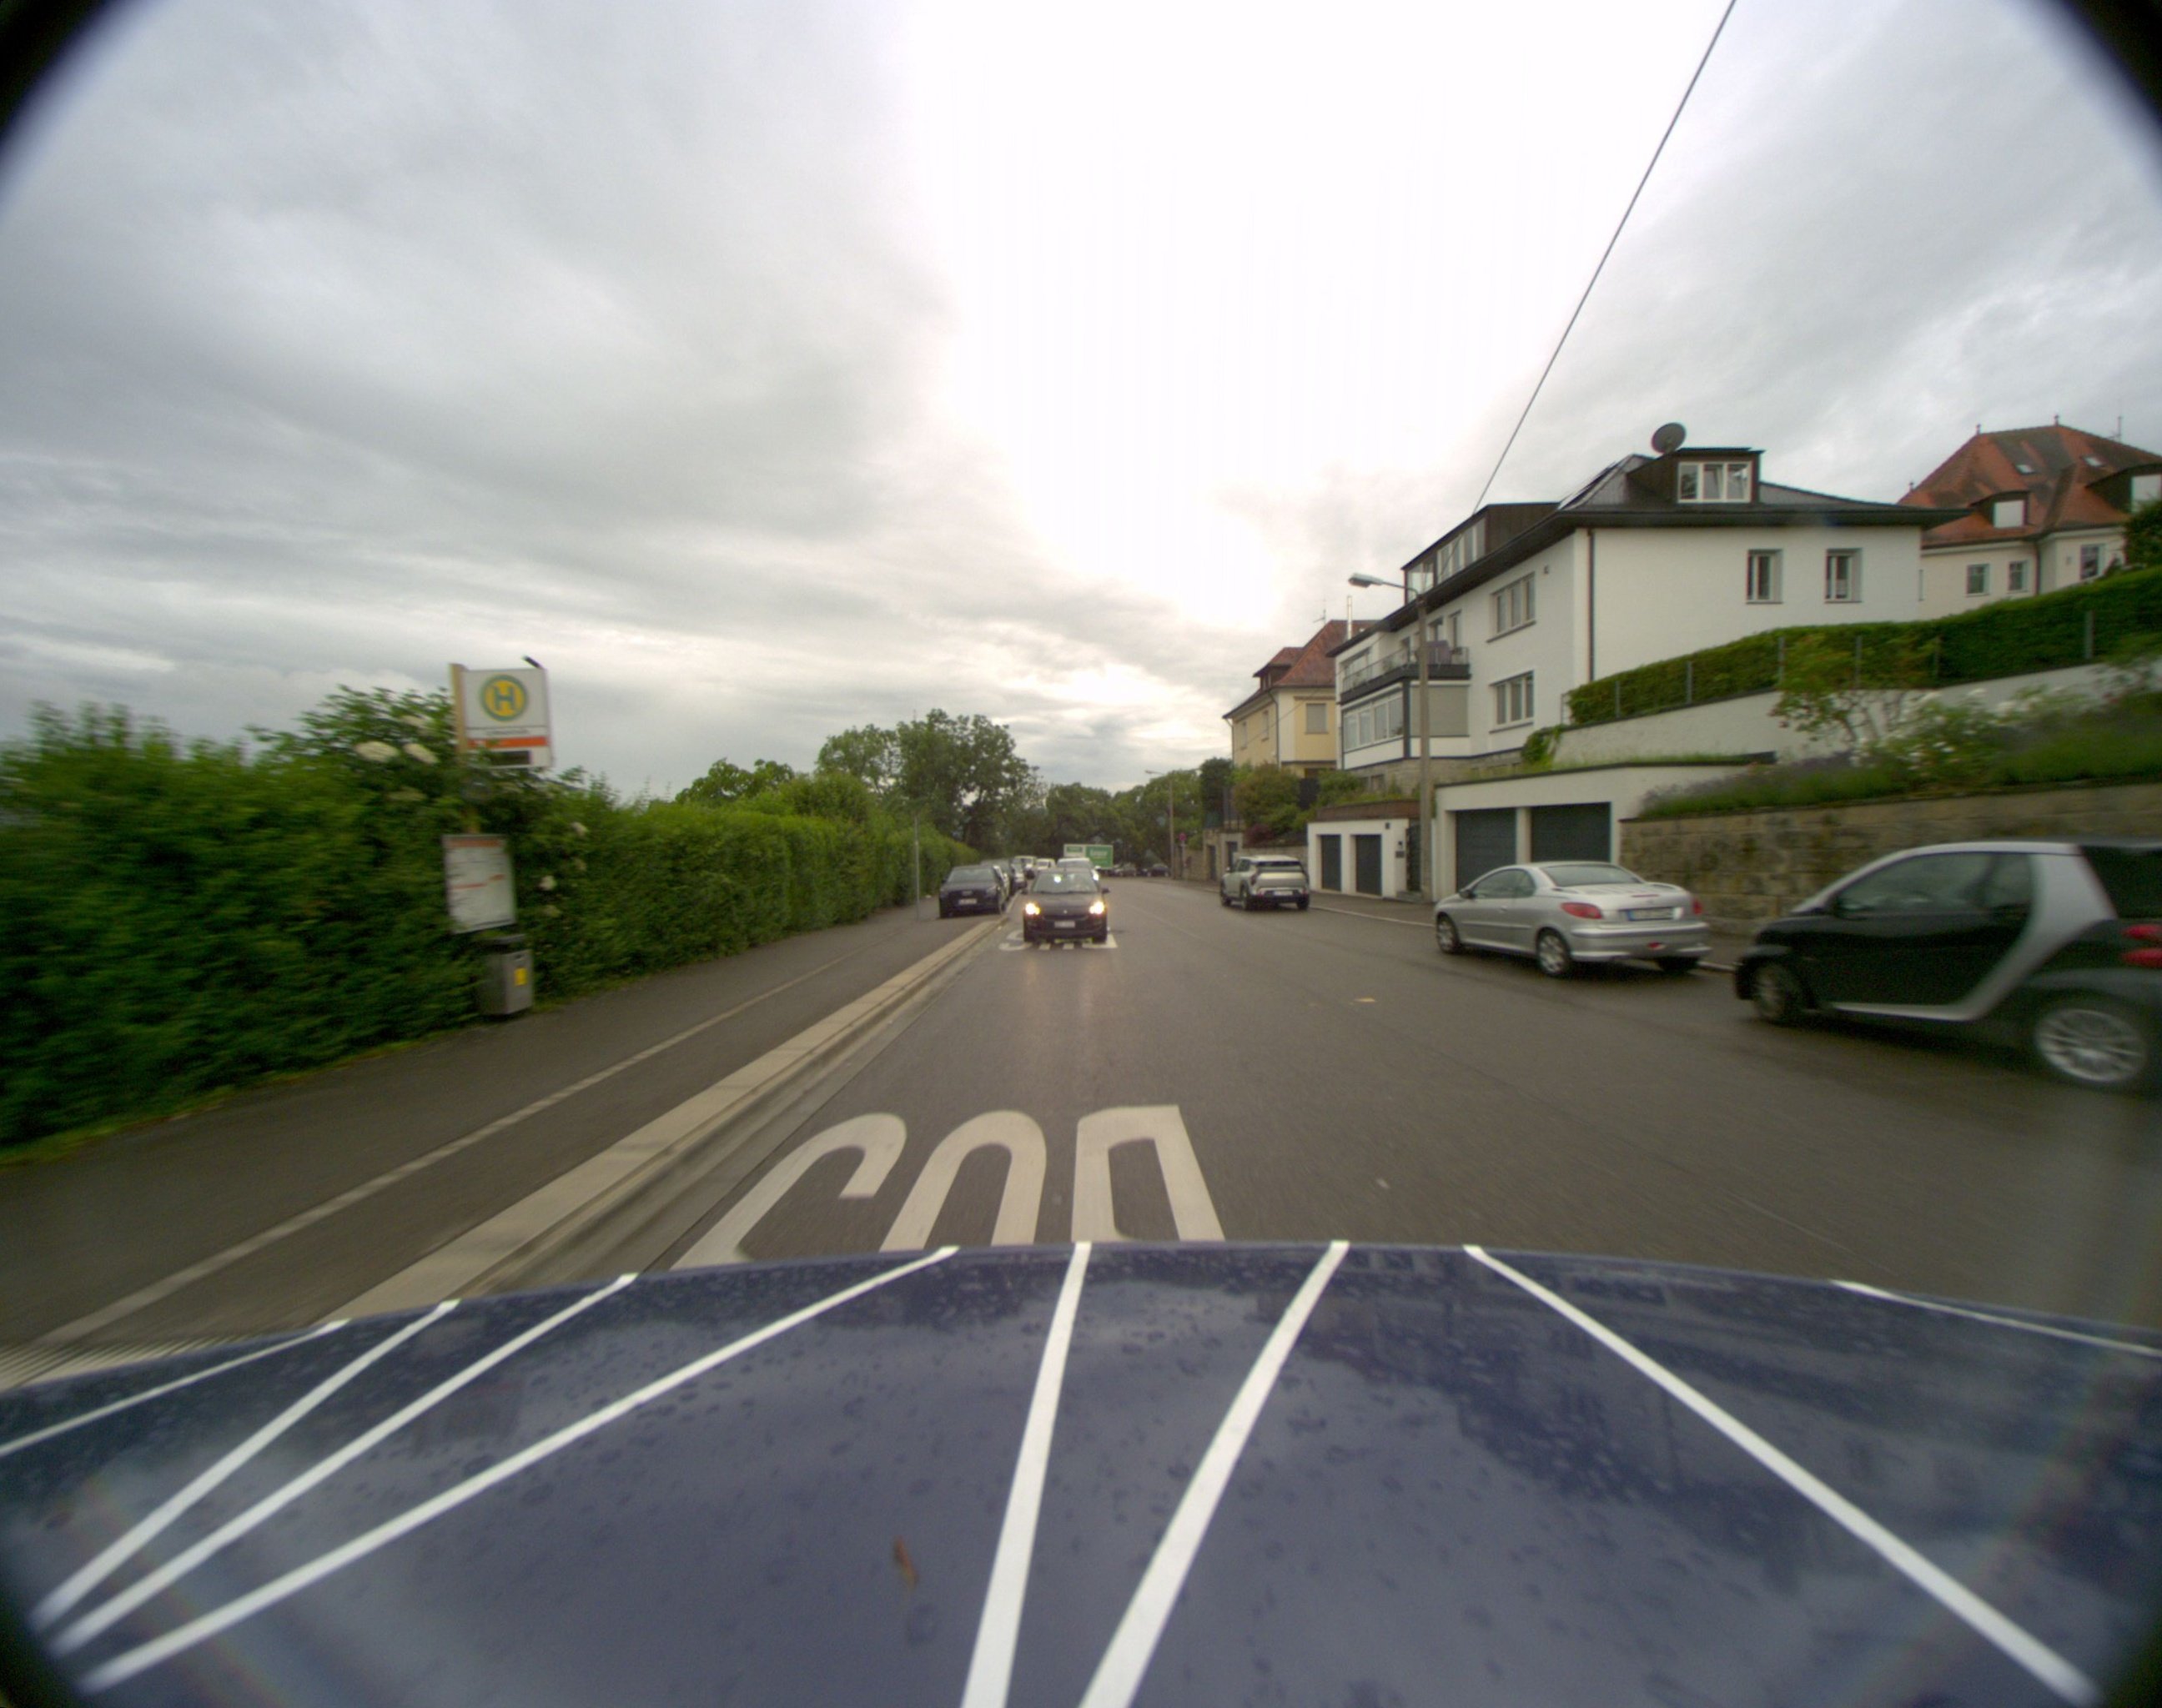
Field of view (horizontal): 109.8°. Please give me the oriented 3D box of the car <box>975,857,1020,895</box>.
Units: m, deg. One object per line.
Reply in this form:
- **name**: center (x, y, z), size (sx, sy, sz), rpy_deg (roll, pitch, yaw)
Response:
- **car**: center (-3.948, 1.014, 36.486), size (1.892, 1.653, 4.546), rpy_deg (-2, 0, -4)

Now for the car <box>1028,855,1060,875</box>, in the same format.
- **car**: center (-3.395, 1.053, 71.336), size (1.862, 1.760, 4.384), rpy_deg (-1, -1, 13)

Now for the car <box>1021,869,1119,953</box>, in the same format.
- **car**: center (-0.345, 1.108, 16.522), size (1.784, 1.477, 4.404), rpy_deg (-2, 0, -4)

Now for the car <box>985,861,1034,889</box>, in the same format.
- **car**: center (-3.976, 1.126, 41.585), size (1.806, 1.431, 4.636), rpy_deg (-1, 0, -16)

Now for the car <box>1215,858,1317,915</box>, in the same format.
- **car**: center (5.463, 0.904, 23.034), size (1.903, 1.558, 4.237), rpy_deg (-1, 0, -2)

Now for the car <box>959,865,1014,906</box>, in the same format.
- **car**: center (-3.541, 1.144, 29.122), size (1.718, 1.397, 4.607), rpy_deg (-2, 0, -3)

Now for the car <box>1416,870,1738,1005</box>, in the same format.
- **car**: center (6.213, 0.942, 10.127), size (1.614, 1.329, 3.840), rpy_deg (-3, 0, -3)

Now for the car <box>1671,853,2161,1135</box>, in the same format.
- **car**: center (6.500, 0.780, 5.675), size (1.501, 1.515, 3.157), rpy_deg (-2, 0, -7)

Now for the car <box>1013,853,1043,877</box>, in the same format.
- **car**: center (-4.501, 0.953, 65.507), size (1.864, 1.936, 4.810), rpy_deg (1, -1, 5)

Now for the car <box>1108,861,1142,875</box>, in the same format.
- **car**: center (5.065, 1.590, 87.145), size (1.734, 1.494, 4.145), rpy_deg (2, 0, 41)

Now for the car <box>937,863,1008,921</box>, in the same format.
- **car**: center (-3.267, 1.109, 23.613), size (1.759, 1.521, 4.204), rpy_deg (-2, 0, -3)

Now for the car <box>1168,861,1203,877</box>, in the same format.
- **car**: center (13.079, 1.879, 94.919), size (4.433, 1.810, 1.747), rpy_deg (2, 0, -41)

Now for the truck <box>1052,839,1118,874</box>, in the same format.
- **truck**: center (0.517, 0.314, 80.524), size (2.774, 3.450, 8.952), rpy_deg (3, 0, 30)

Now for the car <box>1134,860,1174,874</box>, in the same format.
- **car**: center (8.781, 1.605, 91.180), size (4.906, 1.533, 1.860), rpy_deg (2, 0, -42)

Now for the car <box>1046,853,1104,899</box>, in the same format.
- **car**: center (-0.217, 0.876, 31.676), size (2.191, 1.698, 4.883), rpy_deg (-2, 0, 0)
